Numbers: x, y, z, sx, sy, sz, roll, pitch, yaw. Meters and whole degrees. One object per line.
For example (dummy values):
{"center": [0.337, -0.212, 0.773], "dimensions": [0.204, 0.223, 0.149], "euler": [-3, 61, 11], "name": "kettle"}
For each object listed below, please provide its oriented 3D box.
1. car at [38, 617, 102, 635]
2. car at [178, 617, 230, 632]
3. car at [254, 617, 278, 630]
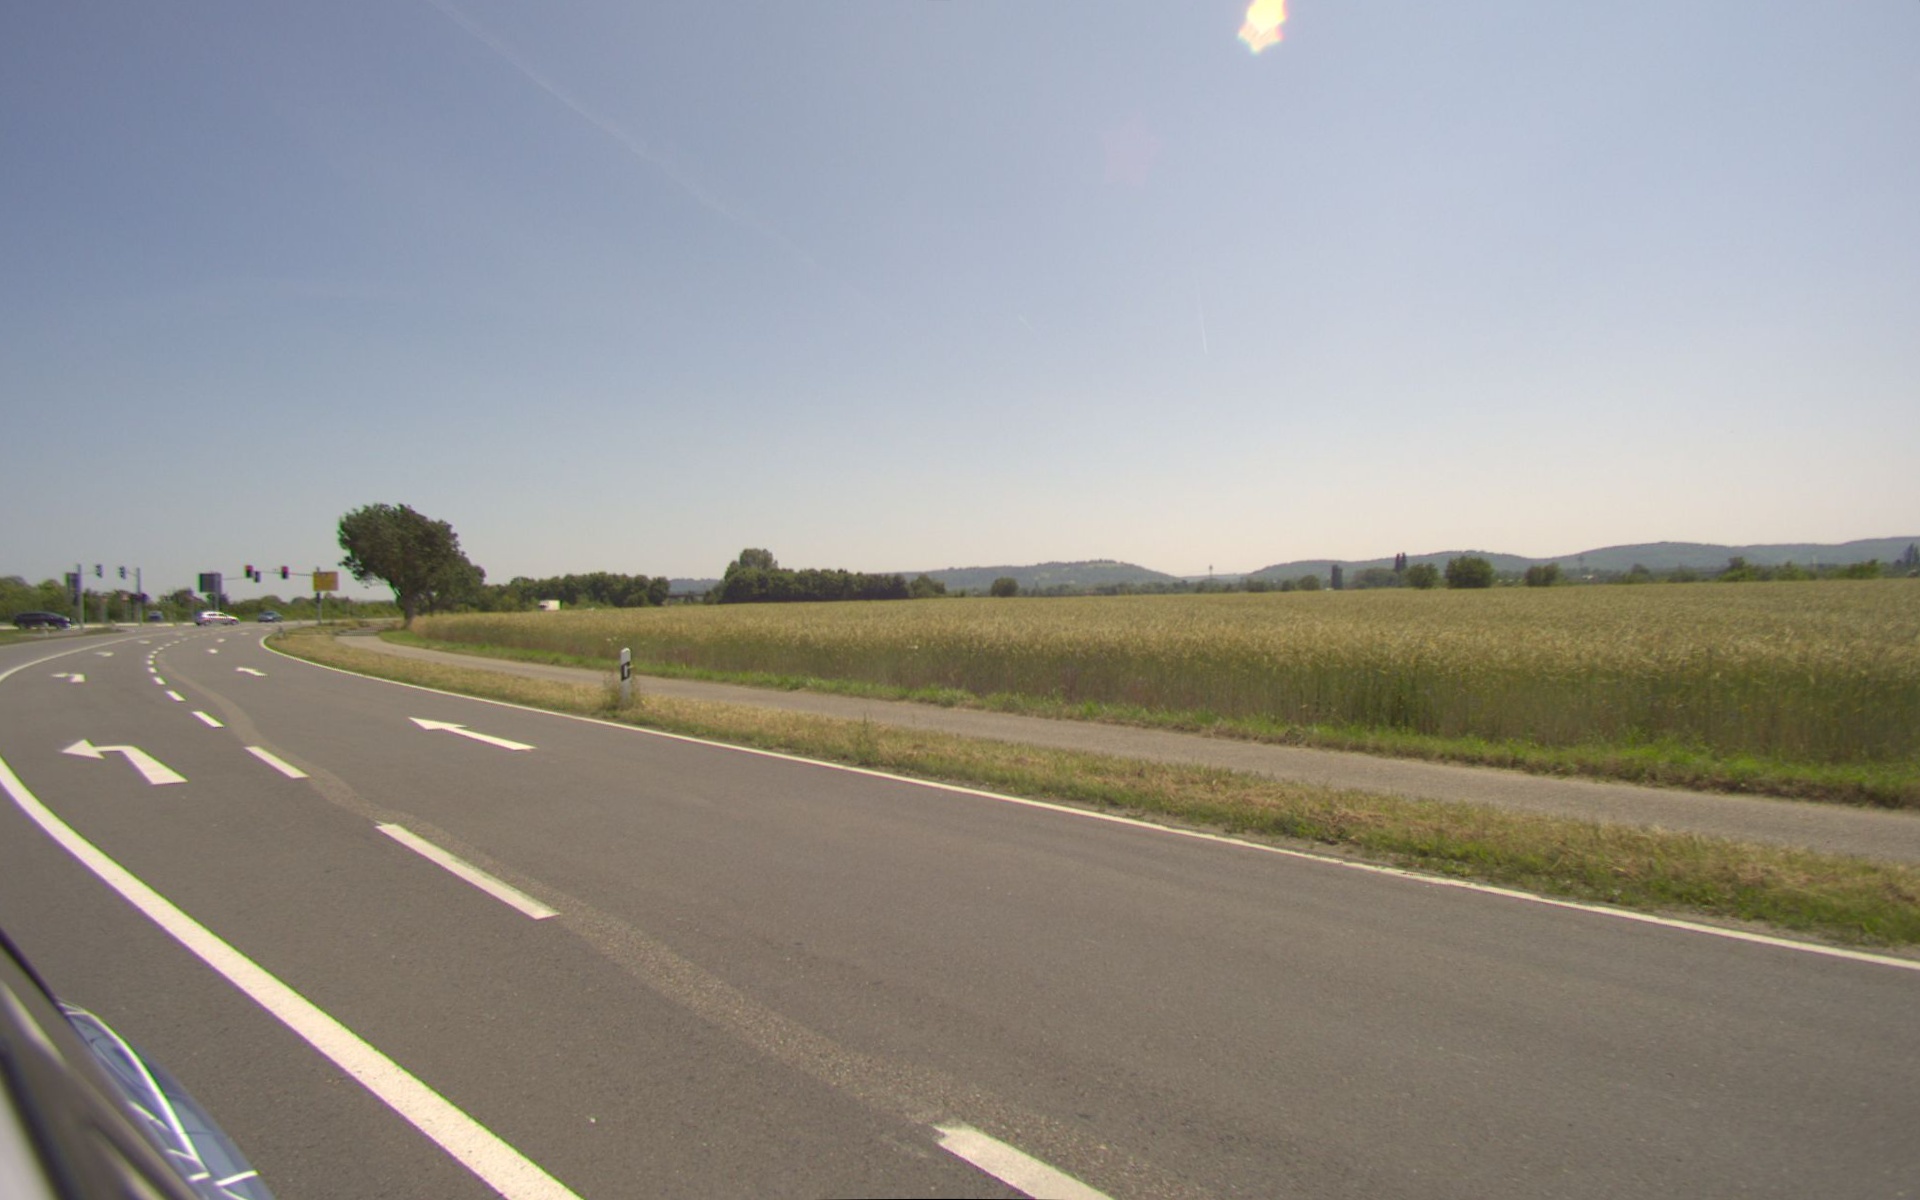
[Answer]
{"center": [-88.913, 2.548, 101.133], "dimensions": [4.448, 1.653, 1.820], "euler": [0, 0, -26], "name": "car"}
{"center": [-80.847, 2.618, 108.246], "dimensions": [1.655, 1.471, 4.108], "euler": [-1, 0, 32], "name": "car"}
{"center": [-89.445, 3.006, 130.477], "dimensions": [1.629, 1.578, 4.012], "euler": [0, -1, -19], "name": "car"}
